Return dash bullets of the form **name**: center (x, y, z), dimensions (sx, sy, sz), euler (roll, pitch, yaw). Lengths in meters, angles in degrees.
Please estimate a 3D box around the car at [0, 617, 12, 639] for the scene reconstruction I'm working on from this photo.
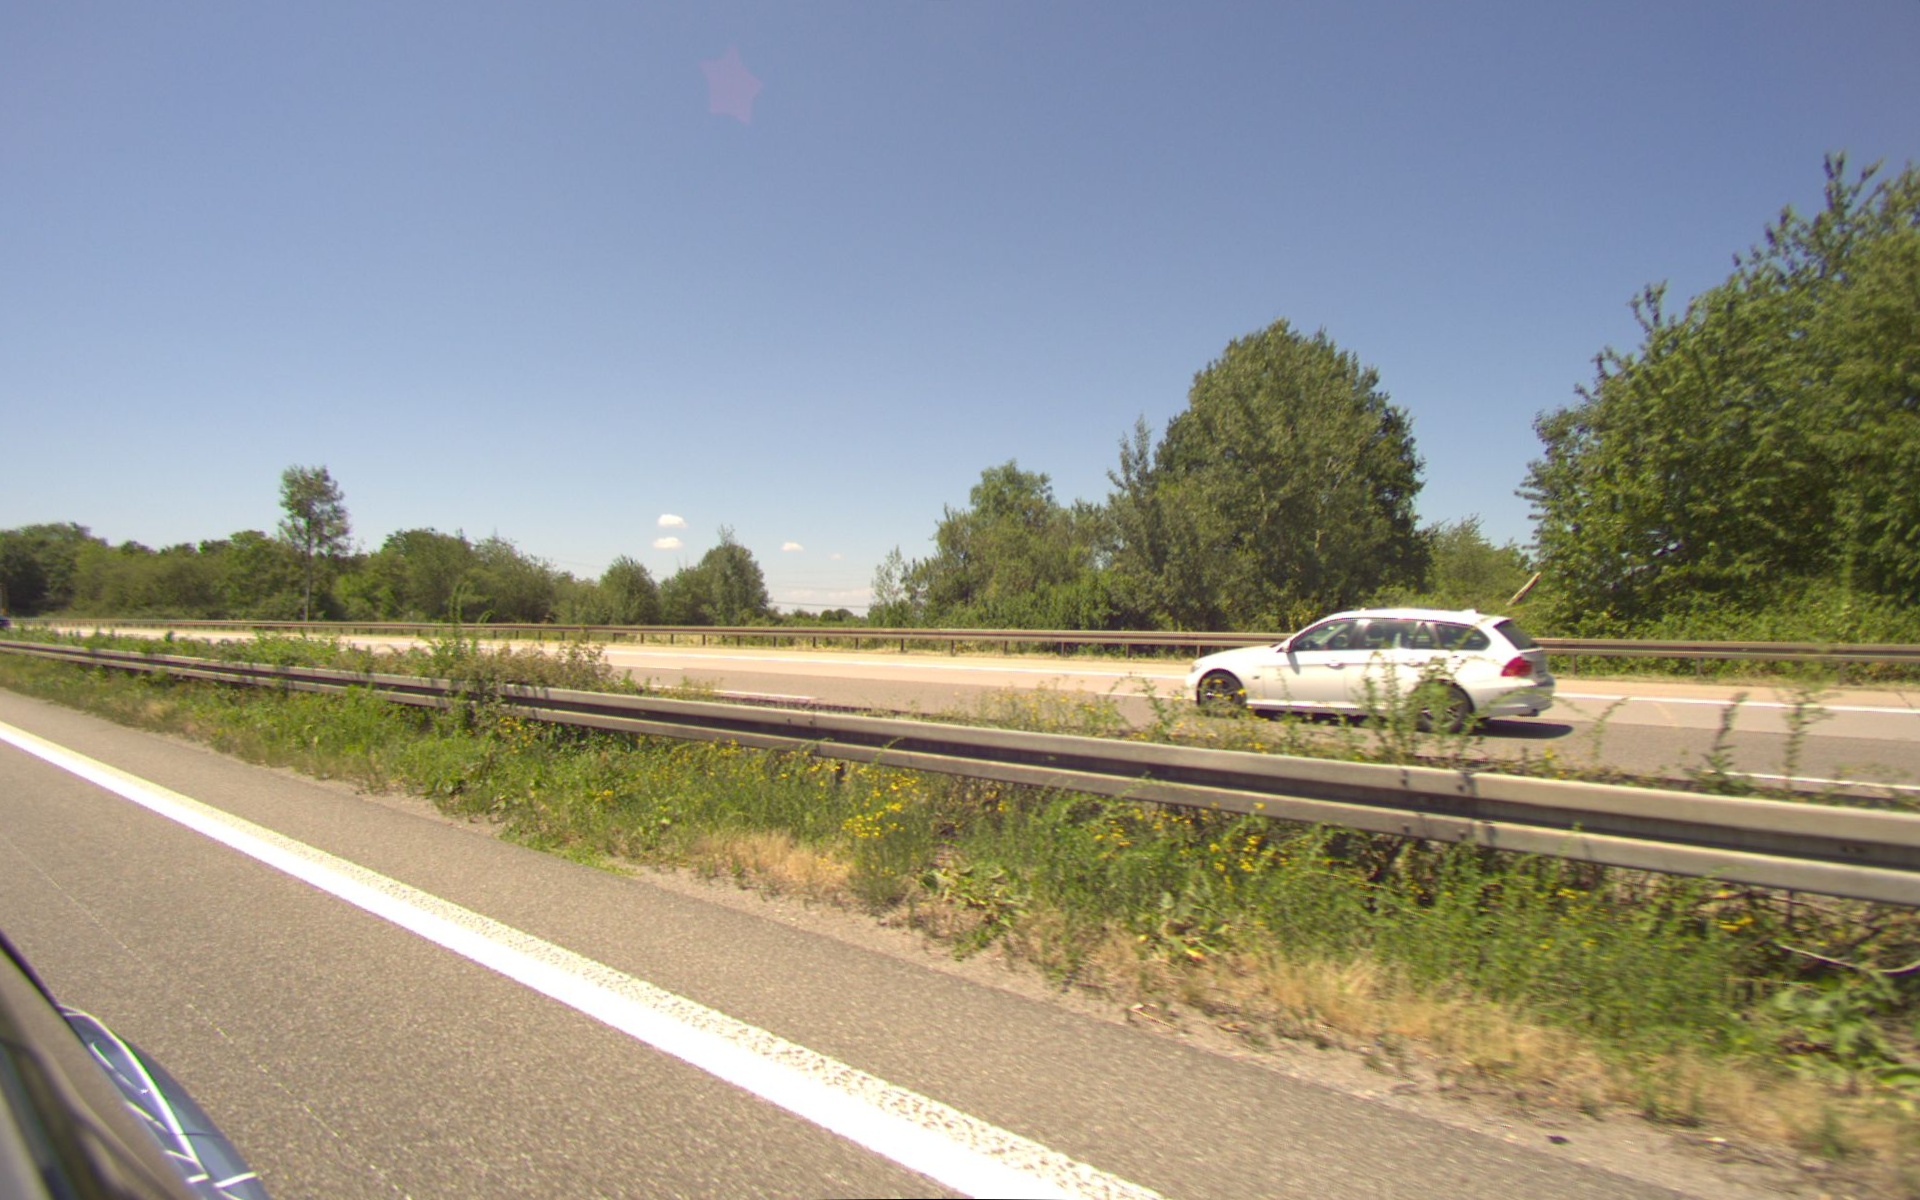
- **car**: center (-67.941, 1.979, 70.760), dimensions (4.495, 1.529, 1.765), euler (-1, -1, 38)

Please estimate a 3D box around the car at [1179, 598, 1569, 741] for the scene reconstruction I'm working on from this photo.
- **car**: center (5.189, 0.775, 13.046), dimensions (4.328, 1.526, 1.750), euler (-1, 0, 41)

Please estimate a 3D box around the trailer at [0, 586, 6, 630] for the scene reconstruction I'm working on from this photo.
- **trailer**: center (-92.094, 0.792, 93.743), dimensions (14.028, 3.978, 2.855), euler (-1, -1, 36)
